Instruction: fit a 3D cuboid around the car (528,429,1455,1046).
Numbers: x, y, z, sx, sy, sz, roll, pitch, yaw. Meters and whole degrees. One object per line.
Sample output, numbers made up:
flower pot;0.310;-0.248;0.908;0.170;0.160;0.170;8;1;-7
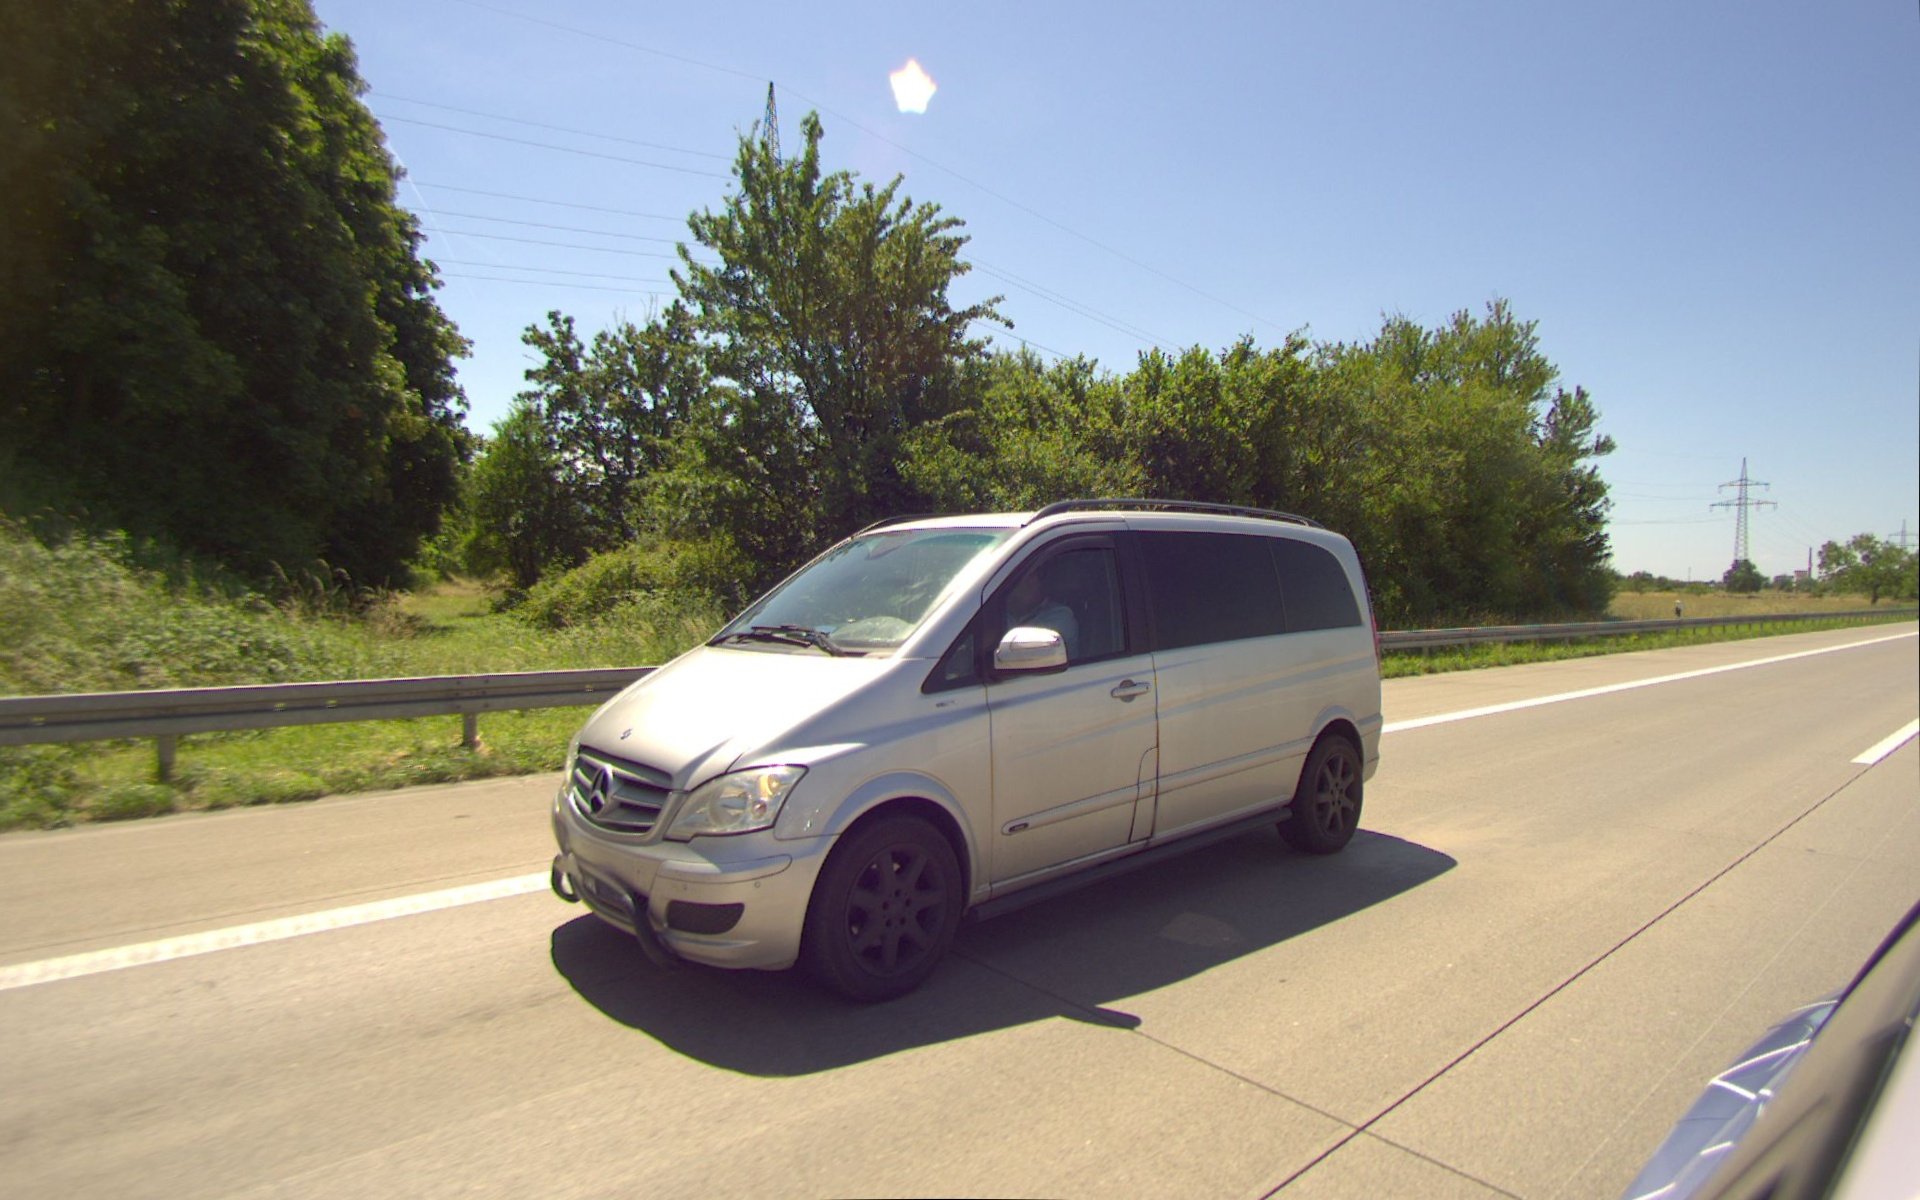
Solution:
car;0.617;0.402;5.553;5.187;1.913;1.883;0;1;-41
